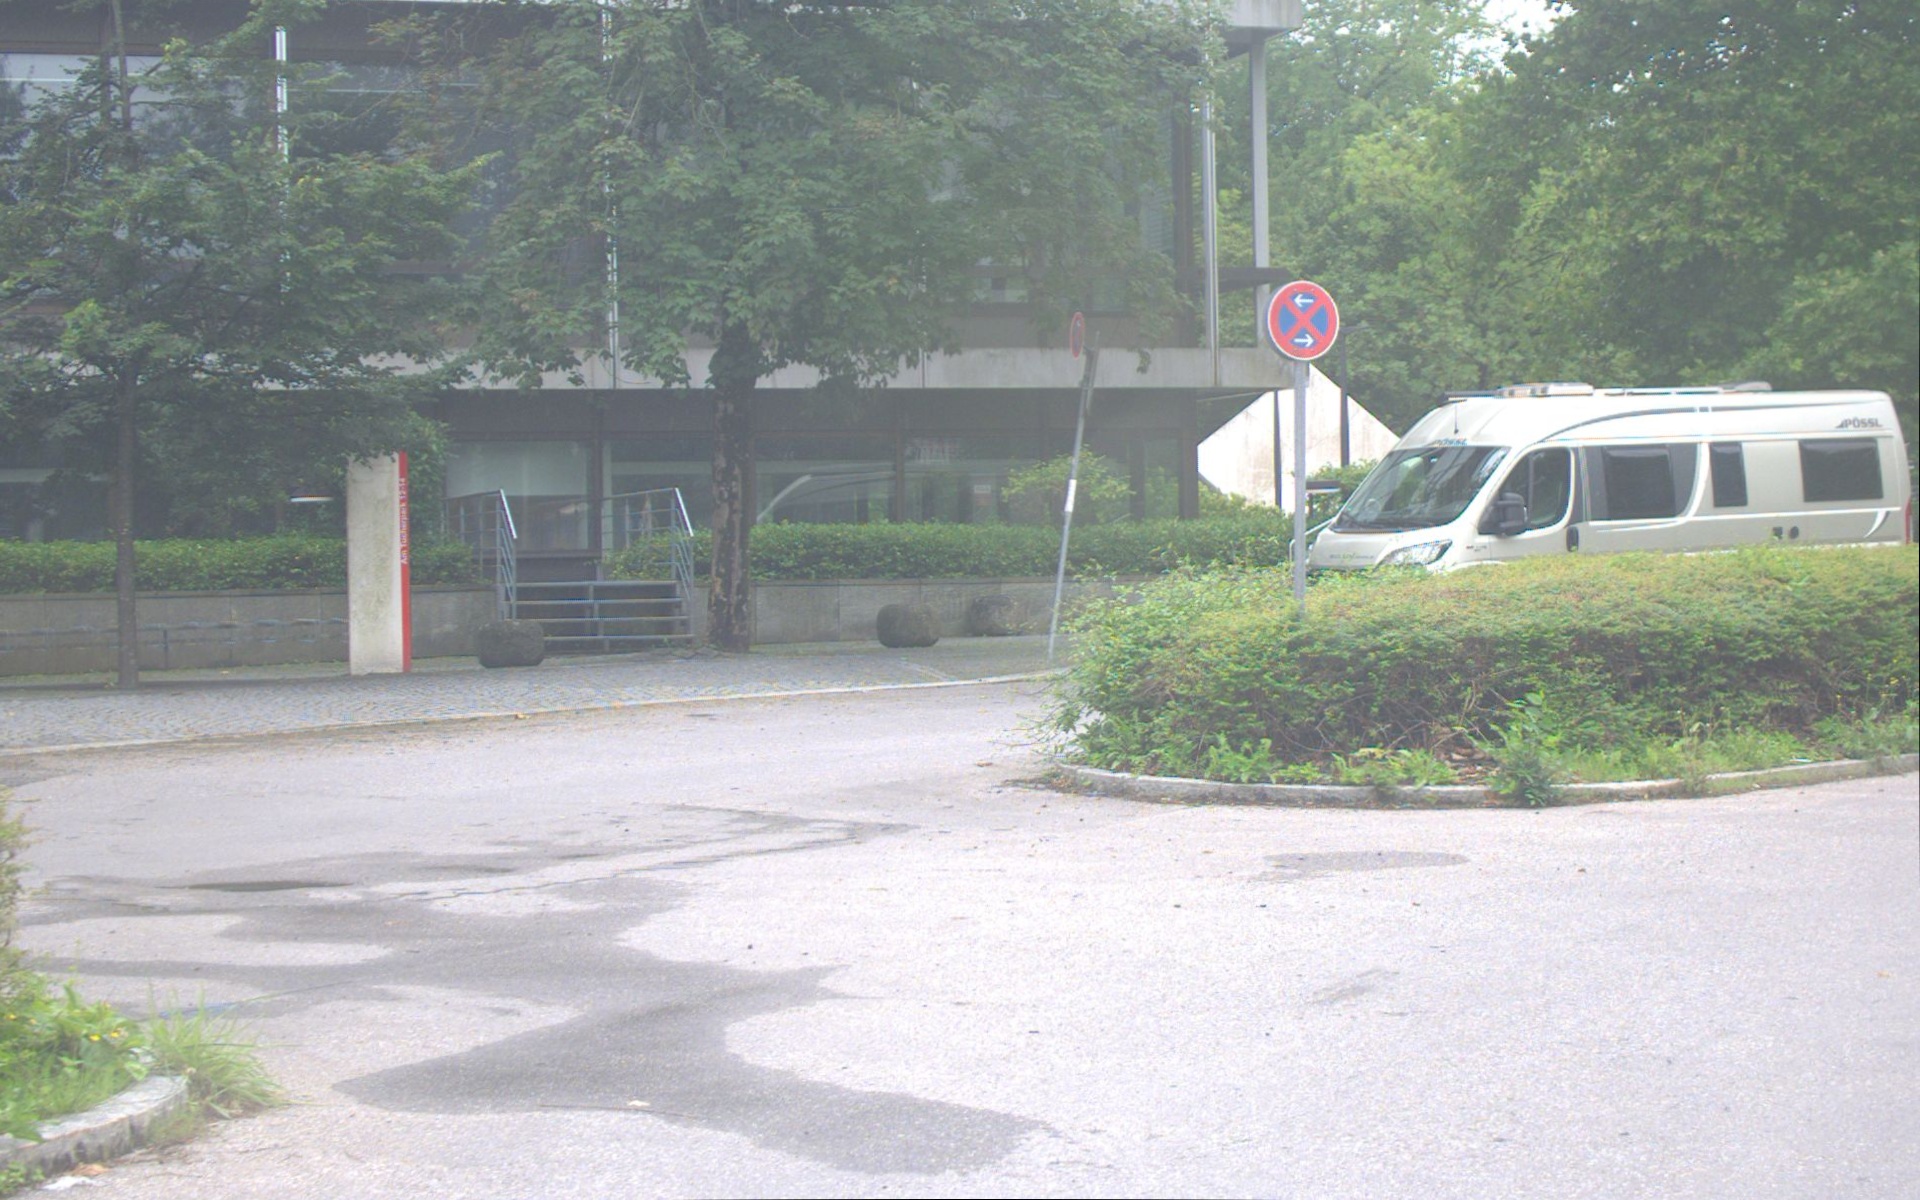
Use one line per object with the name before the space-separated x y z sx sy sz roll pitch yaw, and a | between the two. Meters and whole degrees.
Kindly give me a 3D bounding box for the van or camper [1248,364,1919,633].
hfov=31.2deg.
van or camper | 5.919 -0.935 31.718 6.398 2.273 2.255 -1 1 -32
